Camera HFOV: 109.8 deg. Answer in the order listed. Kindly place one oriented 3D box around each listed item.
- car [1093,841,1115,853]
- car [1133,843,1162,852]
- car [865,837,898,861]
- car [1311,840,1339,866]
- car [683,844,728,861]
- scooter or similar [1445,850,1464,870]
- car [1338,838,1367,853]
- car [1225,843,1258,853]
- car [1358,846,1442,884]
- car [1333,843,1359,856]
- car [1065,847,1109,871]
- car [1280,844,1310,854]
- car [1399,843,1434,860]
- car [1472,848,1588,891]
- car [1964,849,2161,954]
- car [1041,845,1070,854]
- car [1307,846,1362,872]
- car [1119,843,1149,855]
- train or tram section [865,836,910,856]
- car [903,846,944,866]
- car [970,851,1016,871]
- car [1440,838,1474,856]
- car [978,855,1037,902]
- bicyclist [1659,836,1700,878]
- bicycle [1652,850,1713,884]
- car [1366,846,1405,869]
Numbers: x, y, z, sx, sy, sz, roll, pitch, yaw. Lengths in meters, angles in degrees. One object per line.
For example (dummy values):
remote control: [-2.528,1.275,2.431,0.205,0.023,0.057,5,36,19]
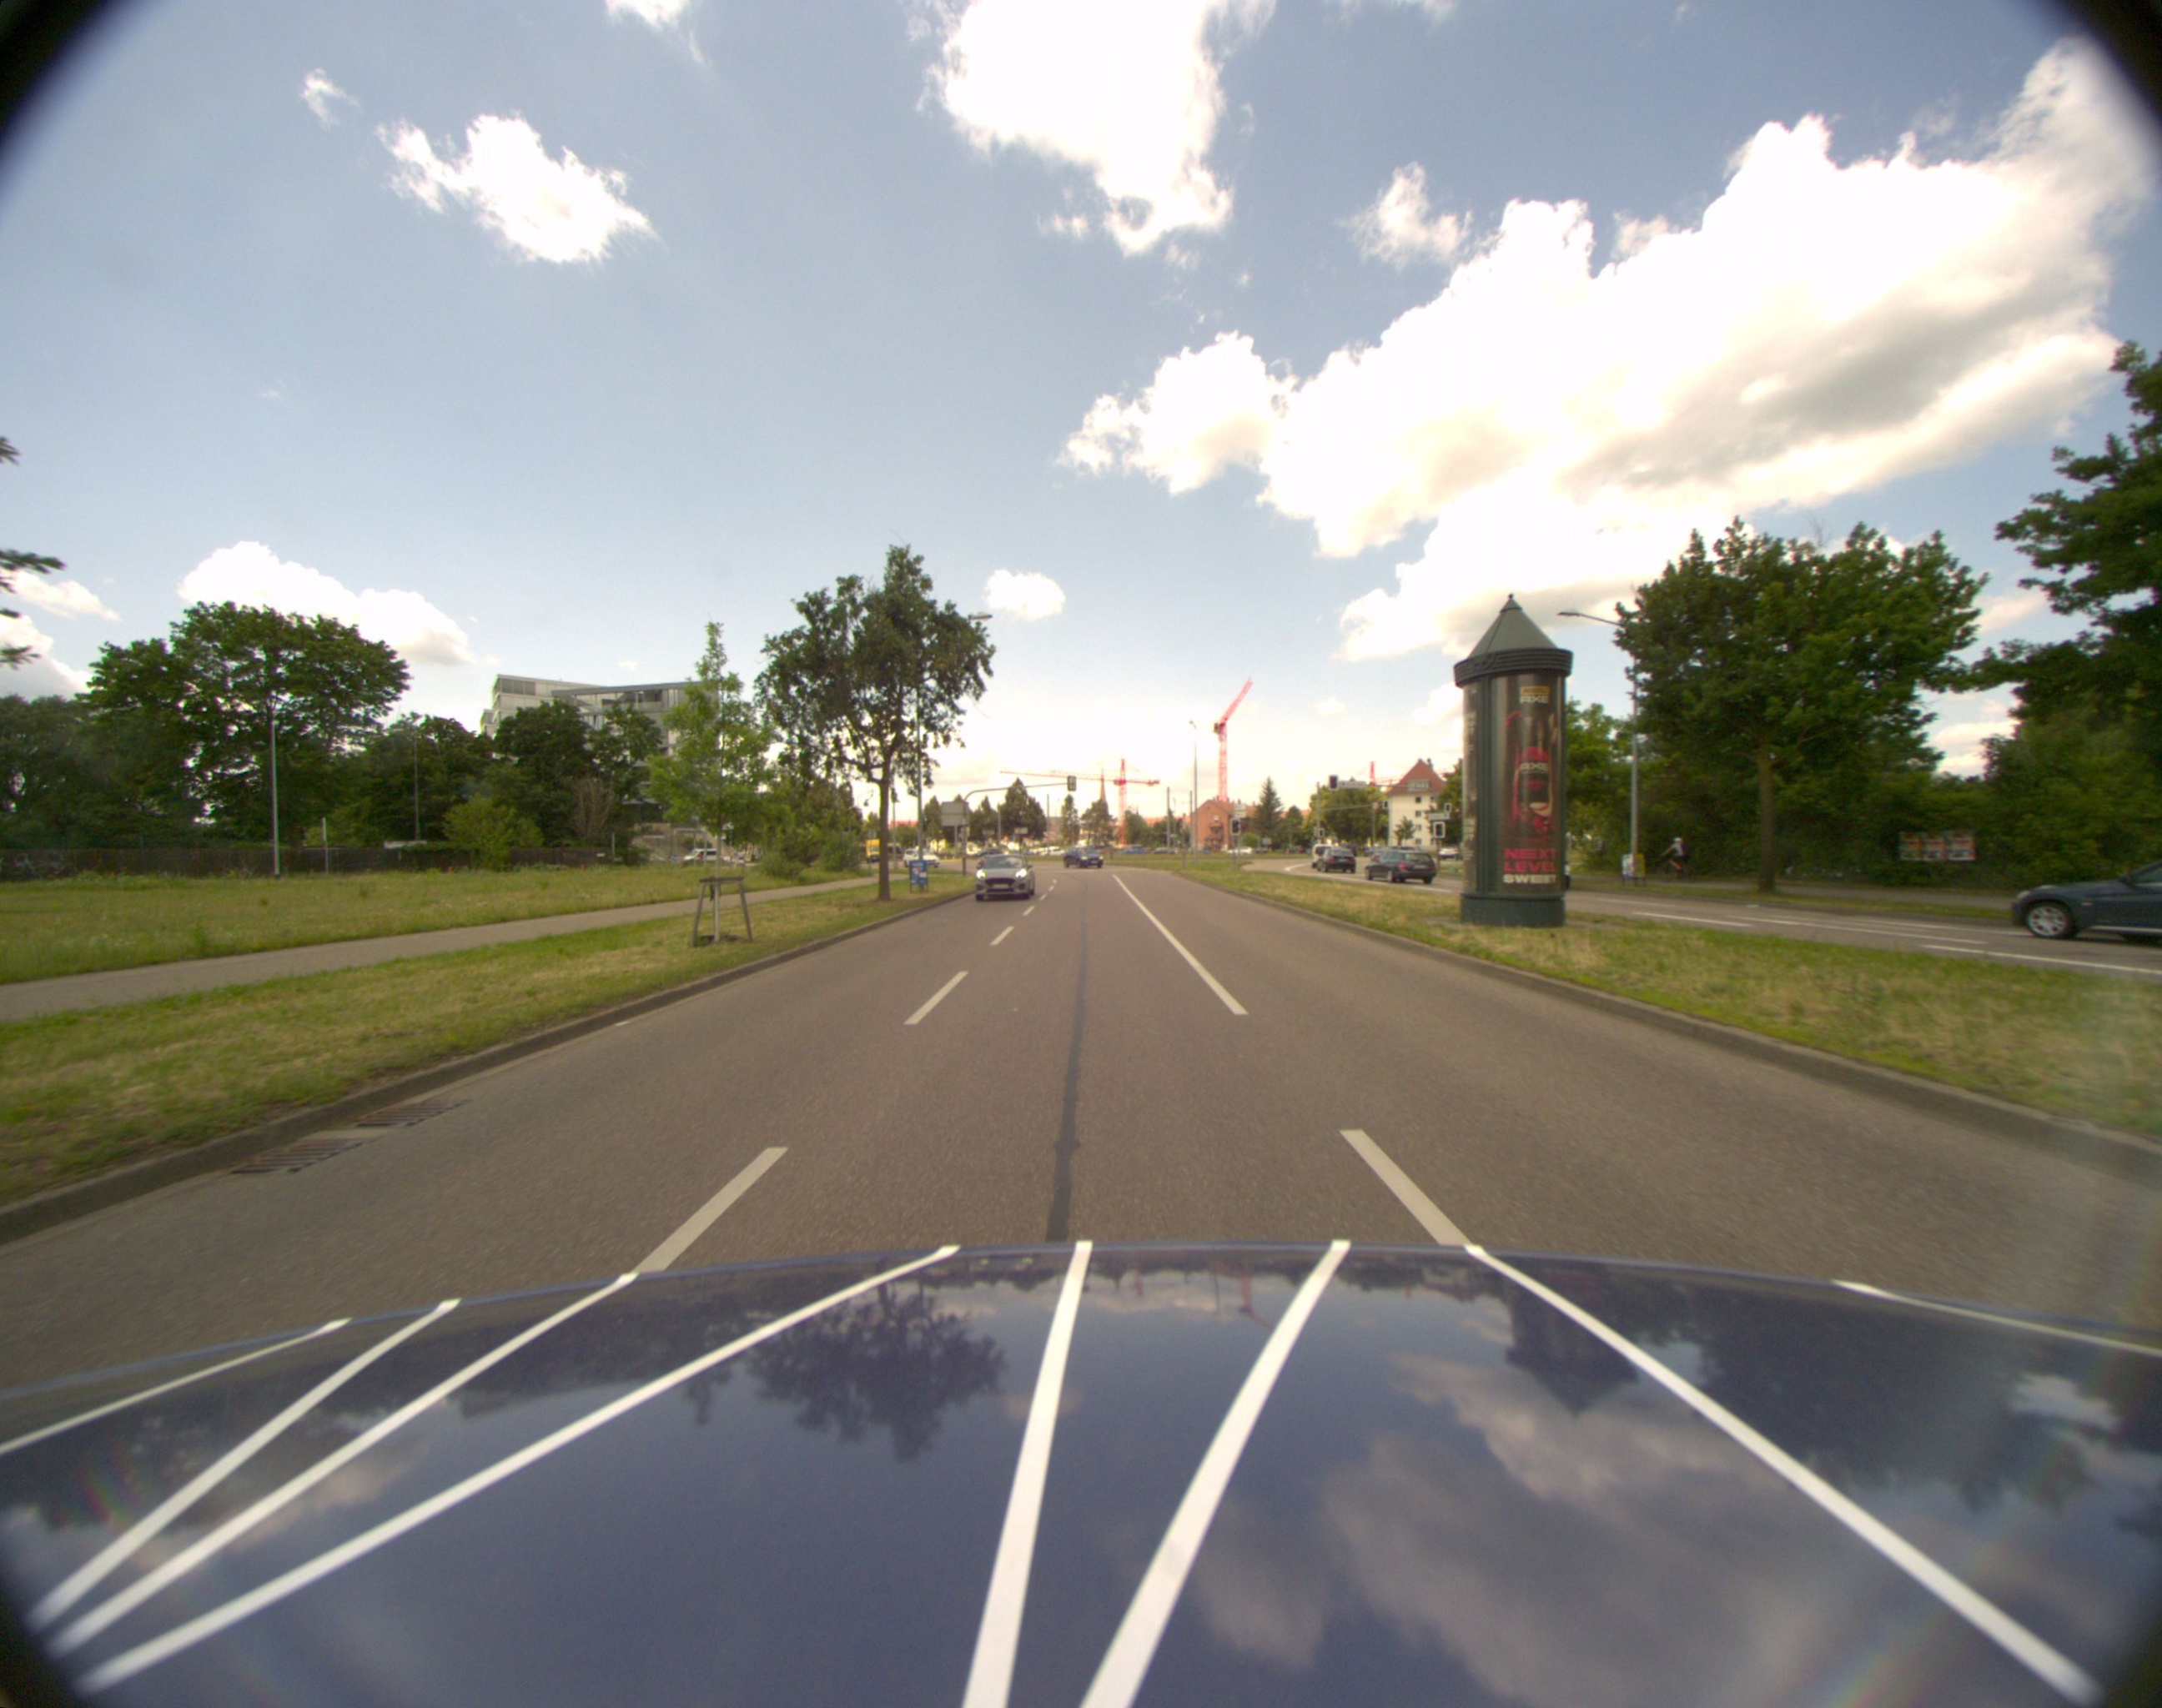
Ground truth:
car: [4.569,-1.420,155.192,2.396,2.185,6.828,-1,1,-17]
car: [10.597,-1.006,121.009,4.483,1.315,1.956,-1,0,13]
car: [-24.065,-0.600,91.898,2.284,2.836,7.254,0,0,-2]
car: [17.765,-0.103,55.390,1.840,1.789,4.793,1,1,17]
car: [-51.077,-0.221,103.489,2.143,2.135,5.161,-1,1,30]
scooter or similar: [22.217,0.328,45.187,0.541,1.159,1.441,-1,1,5]
car: [36.986,-1.130,103.602,1.999,2.002,4.786,-1,1,-3]
car: [24.617,-0.886,116.433,4.494,1.513,2.128,-1,1,38]
car: [14.189,0.446,34.116,1.726,1.582,5.012,0,1,1]
car: [32.435,-0.548,93.215,1.912,1.583,4.593,-1,1,5]
car: [0.432,0.314,56.951,1.777,1.590,4.118,-3,3,-23]
car: [30.993,-0.757,110.072,1.806,1.332,3.969,0,1,-32]
car: [27.979,-0.211,63.324,1.616,1.340,4.179,2,2,39]
car: [17.205,0.543,29.403,1.914,1.532,4.368,0,1,1]
car: [17.126,0.720,11.460,1.767,1.568,5.031,0,1,0]
car: [-3.934,-0.711,117.098,4.311,1.322,1.998,-1,1,-8]
car: [15.421,0.261,46.484,1.842,1.471,4.752,1,1,1]
car: [8.220,-0.827,118.007,4.400,1.788,1.758,-1,1,13]
train or tram section: [-38.199,-1.503,149.578,2.857,3.718,13.439,-2,1,-41]
car: [-13.449,0.154,64.862,1.678,1.590,4.116,-4,2,-38]
car: [-5.886,0.422,50.629,1.677,1.254,4.082,-1,1,-28]
car: [36.718,-0.667,74.176,1.994,1.677,4.797,0,1,39]
car: [-2.487,0.793,26.587,1.674,1.462,4.091,-1,1,0]
bicyclist: [23.208,0.112,29.476,0.832,1.556,0.883,-3,1,1]
bicycle: [23.250,0.480,29.424,0.763,1.212,2.016,-3,1,1]
car: [20.820,0.208,52.101,1.840,1.435,4.423,1,1,13]
